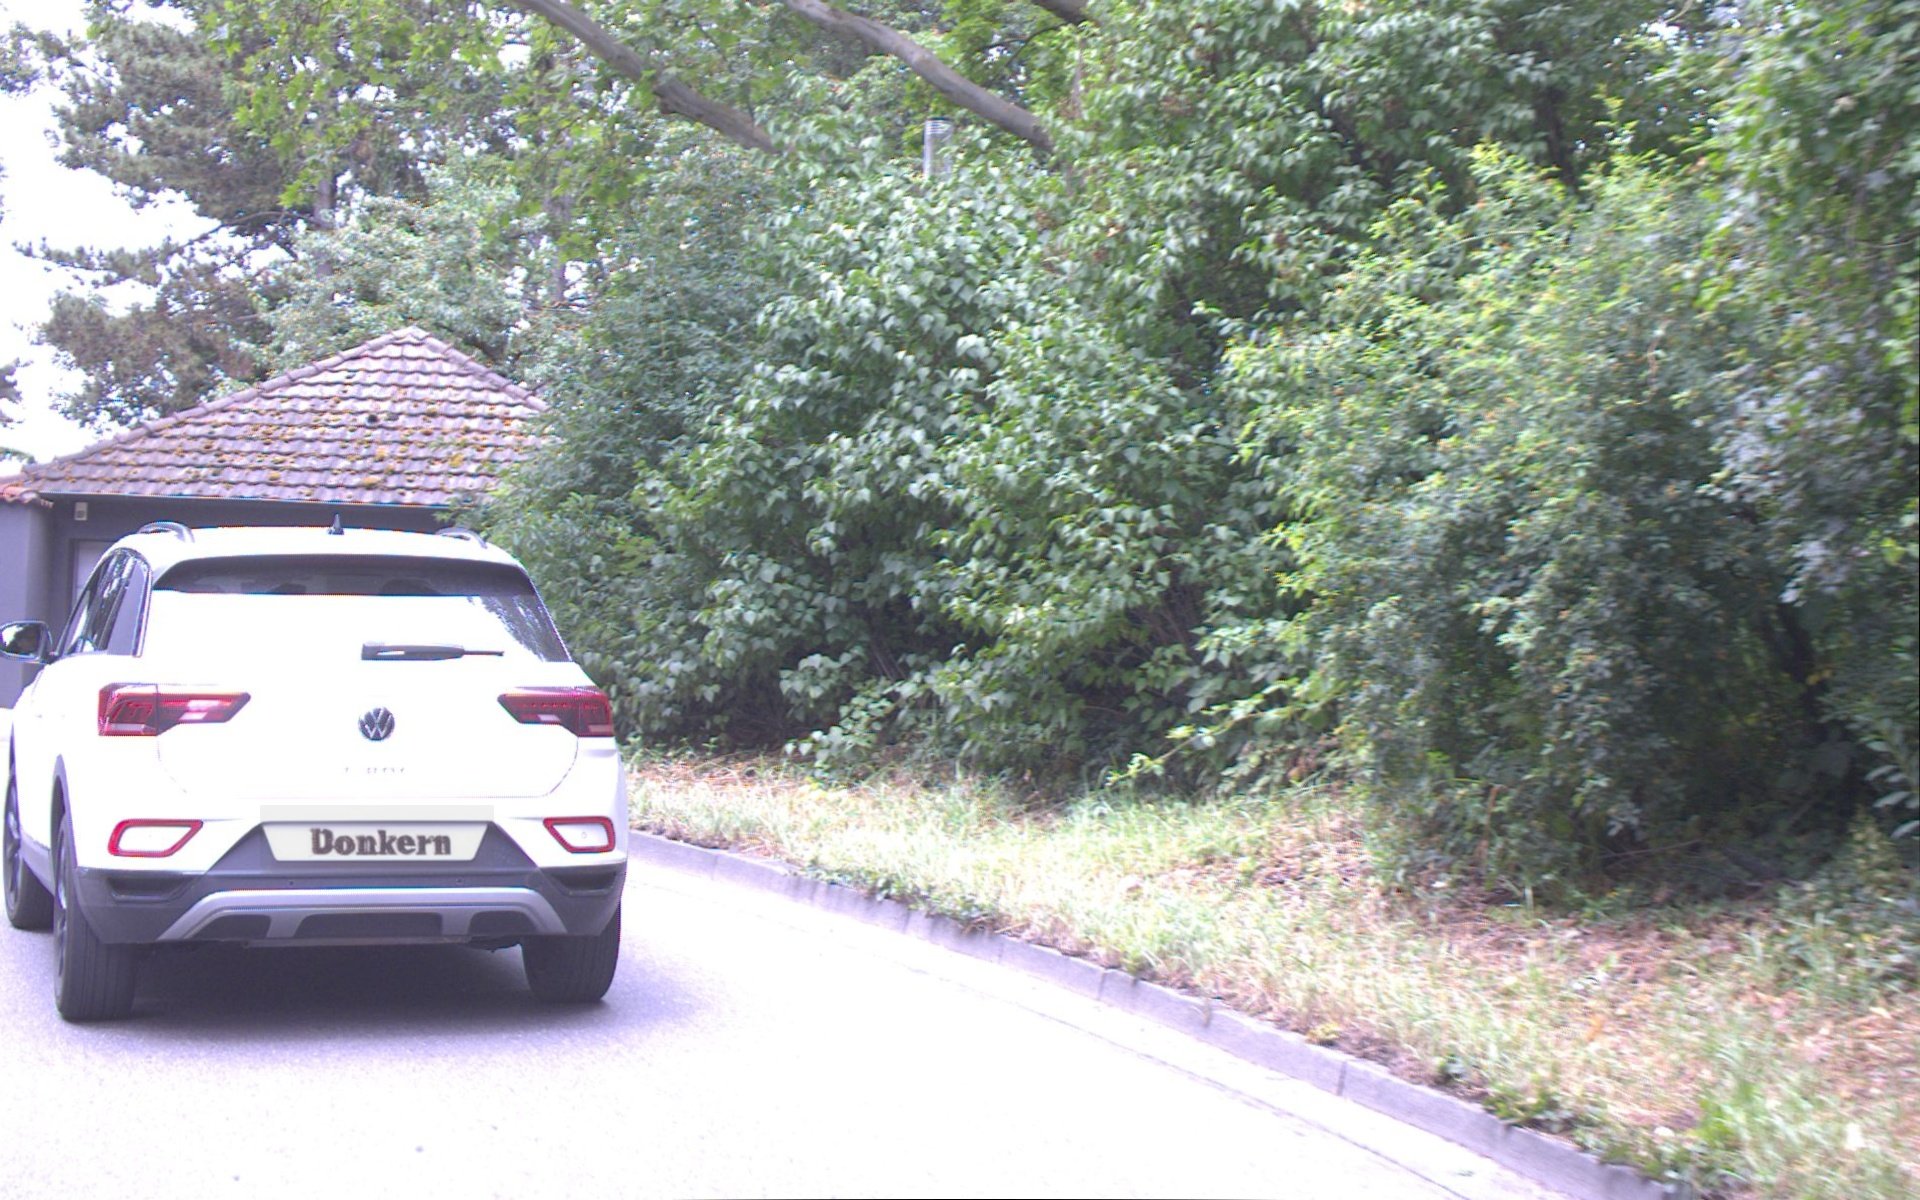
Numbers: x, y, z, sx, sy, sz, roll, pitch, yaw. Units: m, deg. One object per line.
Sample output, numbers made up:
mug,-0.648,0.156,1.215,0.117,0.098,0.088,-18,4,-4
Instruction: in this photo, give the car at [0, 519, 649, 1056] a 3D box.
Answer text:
car,-2.449,0.490,12.289,1.754,1.547,4.339,0,2,-18
